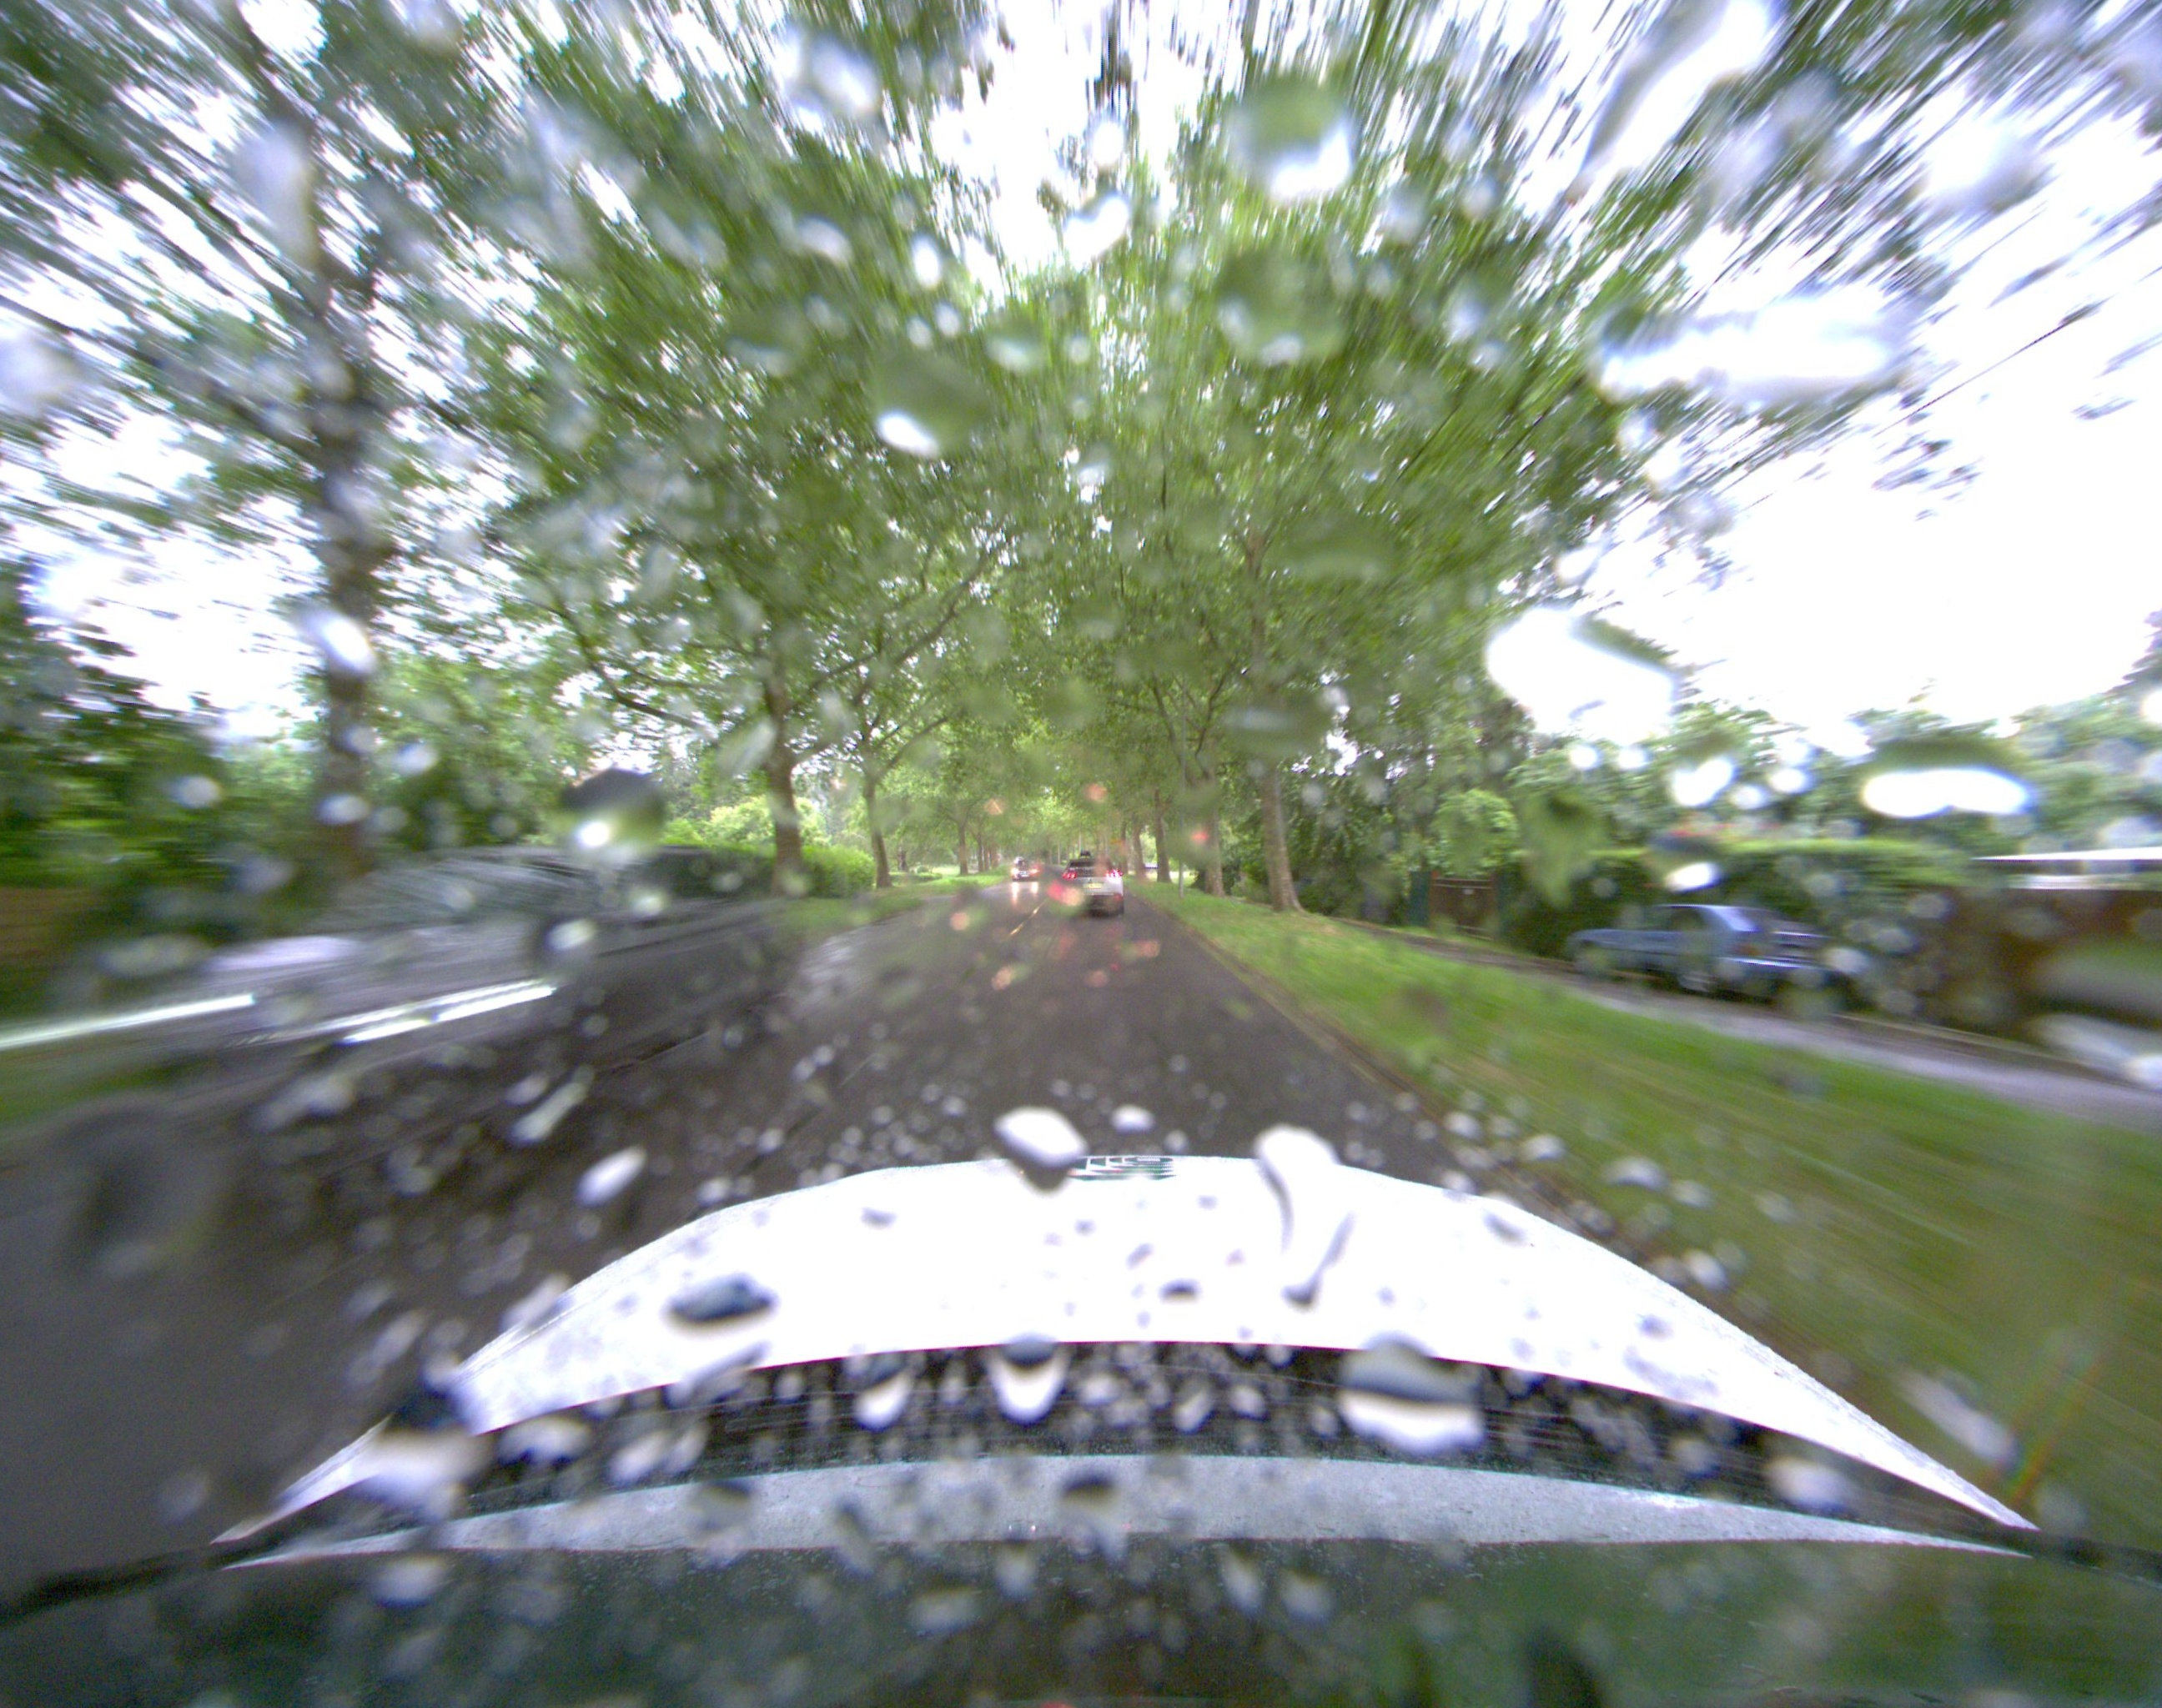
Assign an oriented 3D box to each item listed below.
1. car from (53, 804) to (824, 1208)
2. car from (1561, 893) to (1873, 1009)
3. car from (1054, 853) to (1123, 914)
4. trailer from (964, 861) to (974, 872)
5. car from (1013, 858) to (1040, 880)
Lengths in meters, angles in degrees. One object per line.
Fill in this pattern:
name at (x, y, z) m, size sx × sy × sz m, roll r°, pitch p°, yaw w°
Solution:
car at (-3.484, 0.668, 5.753) m, size 1.802 × 1.728 × 4.456 m, roll 0°, pitch 0°, yaw 1°
car at (9.985, 1.434, 13.254) m, size 1.791 × 1.325 × 3.996 m, roll 5°, pitch -1°, yaw -3°
car at (0.217, 0.760, 22.978) m, size 1.788 × 1.578 × 3.844 m, roll 0°, pitch 0°, yaw 1°
trailer at (-28.810, 3.218, 209.947) m, size 2.484 × 2.567 × 5.316 m, roll 0°, pitch 0°, yaw -9°
car at (-3.869, 1.056, 58.329) m, size 1.841 × 1.502 × 3.996 m, roll 0°, pitch 0°, yaw -3°
